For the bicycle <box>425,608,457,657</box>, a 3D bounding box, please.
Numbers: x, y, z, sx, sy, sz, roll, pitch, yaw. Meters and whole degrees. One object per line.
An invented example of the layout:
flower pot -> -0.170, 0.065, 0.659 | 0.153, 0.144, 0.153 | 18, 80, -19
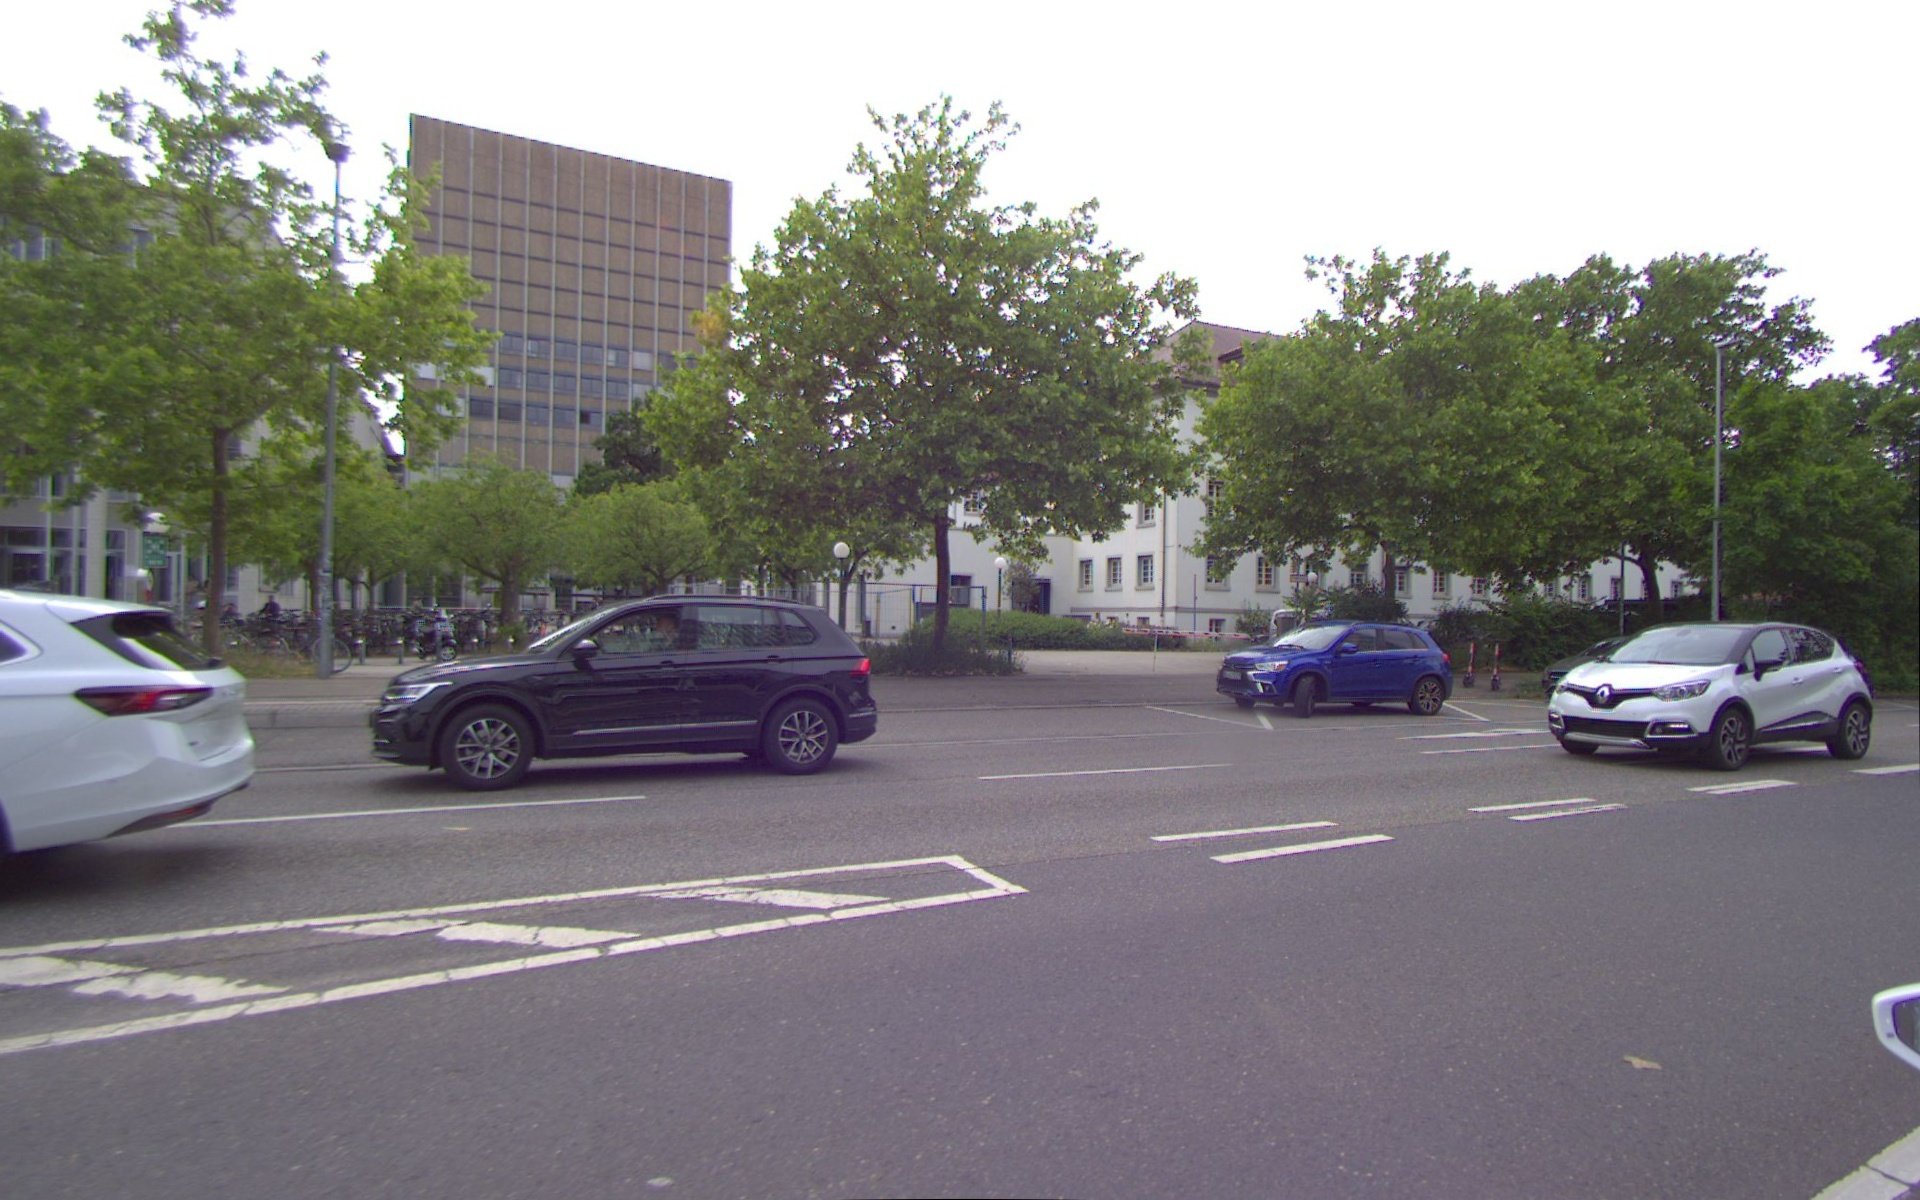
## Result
bicycle -> -15.176, 0.930, 29.330 | 0.713, 1.347, 2.806 | 2, -2, -29

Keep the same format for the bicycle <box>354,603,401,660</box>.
bicycle -> -16.749, 0.888, 28.842 | 0.914, 1.579, 2.640 | 2, -1, -35

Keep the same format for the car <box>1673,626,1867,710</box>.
car -> 18.799, 1.546, 23.308 | 3.947, 1.712, 1.987 | 2, 1, -26

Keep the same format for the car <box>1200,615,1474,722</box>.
car -> 6.666, 1.168, 17.722 | 4.530, 1.629, 1.853 | 2, 1, -25

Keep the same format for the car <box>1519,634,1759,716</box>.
car -> 14.266, 1.543, 21.110 | 4.659, 1.443, 1.870 | 2, 2, -22

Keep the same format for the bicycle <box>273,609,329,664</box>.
bicycle -> -14.855, 0.805, 22.622 | 0.716, 1.168, 2.010 | 2, -2, -43

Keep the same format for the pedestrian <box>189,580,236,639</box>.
pedestrian -> -26.201, 0.334, 35.226 | 0.969, 2.040, 0.795 | 1, -1, 3

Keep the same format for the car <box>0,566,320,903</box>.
car -> -5.982, 0.541, 4.649 | 4.846, 1.485, 1.897 | 2, 1, -26

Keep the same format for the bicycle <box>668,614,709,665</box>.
bicycle -> -8.899, 1.273, 32.819 | 0.713, 1.615, 2.389 | 2, -2, -29

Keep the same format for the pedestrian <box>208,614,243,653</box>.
pedestrian -> -27.717, 1.264, 37.912 | 0.783, 1.437, 0.894 | 2, -1, -18

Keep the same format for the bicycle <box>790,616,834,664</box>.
bicycle -> -5.194, 1.385, 35.105 | 0.713, 1.615, 2.389 | 2, -2, -29

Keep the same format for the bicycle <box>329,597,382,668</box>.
bicycle -> -14.258, 0.752, 23.666 | 0.891, 1.579, 2.178 | 2, -1, -35

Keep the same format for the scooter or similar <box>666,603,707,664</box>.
scooter or similar -> -5.929, 0.719, 21.721 | 0.559, 1.260, 1.570 | 2, -1, -25

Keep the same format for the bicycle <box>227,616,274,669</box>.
bicycle -> -19.144, 1.127, 27.147 | 0.713, 1.371, 2.473 | 2, -2, -29

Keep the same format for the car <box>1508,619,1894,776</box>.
car -> 8.731, 1.073, 11.834 | 4.125, 1.567, 1.987 | 2, -3, -26

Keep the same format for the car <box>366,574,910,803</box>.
car -> -2.885, 0.749, 9.429 | 4.409, 1.716, 1.987 | 2, -2, -26

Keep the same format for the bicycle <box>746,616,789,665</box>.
bicycle -> -6.542, 1.346, 34.002 | 0.713, 1.615, 2.389 | 2, -2, -29

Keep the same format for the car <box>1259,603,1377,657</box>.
car -> 11.959, 0.983, 33.767 | 1.631, 1.623, 3.571 | 2, 1, -27

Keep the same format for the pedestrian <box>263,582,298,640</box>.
pedestrian -> -24.576, 0.395, 36.330 | 0.783, 2.040, 0.894 | 2, -1, -18

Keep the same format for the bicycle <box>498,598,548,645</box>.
bicycle -> -15.397, 0.758, 35.463 | 0.906, 1.579, 2.664 | 1, -1, -8

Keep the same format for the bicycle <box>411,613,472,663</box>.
bicycle -> -12.708, 0.920, 24.598 | 0.716, 1.159, 2.301 | 2, -2, -43

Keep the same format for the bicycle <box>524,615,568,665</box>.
bicycle -> -10.394, 0.974, 25.172 | 0.713, 1.190, 2.734 | 2, -2, -29

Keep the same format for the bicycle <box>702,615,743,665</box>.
bicycle -> -7.932, 1.302, 33.463 | 0.713, 1.615, 2.389 | 2, -2, -29

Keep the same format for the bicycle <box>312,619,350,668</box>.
bicycle -> -17.436, 1.180, 27.887 | 0.713, 1.286, 2.524 | 2, -2, -29

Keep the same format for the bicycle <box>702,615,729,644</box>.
bicycle -> -10.855, 1.307, 44.668 | 0.906, 1.221, 2.664 | 1, -1, -8

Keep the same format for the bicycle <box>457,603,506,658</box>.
bicycle -> -14.384, 0.888, 30.151 | 0.914, 1.579, 2.428 | 2, -1, -35
